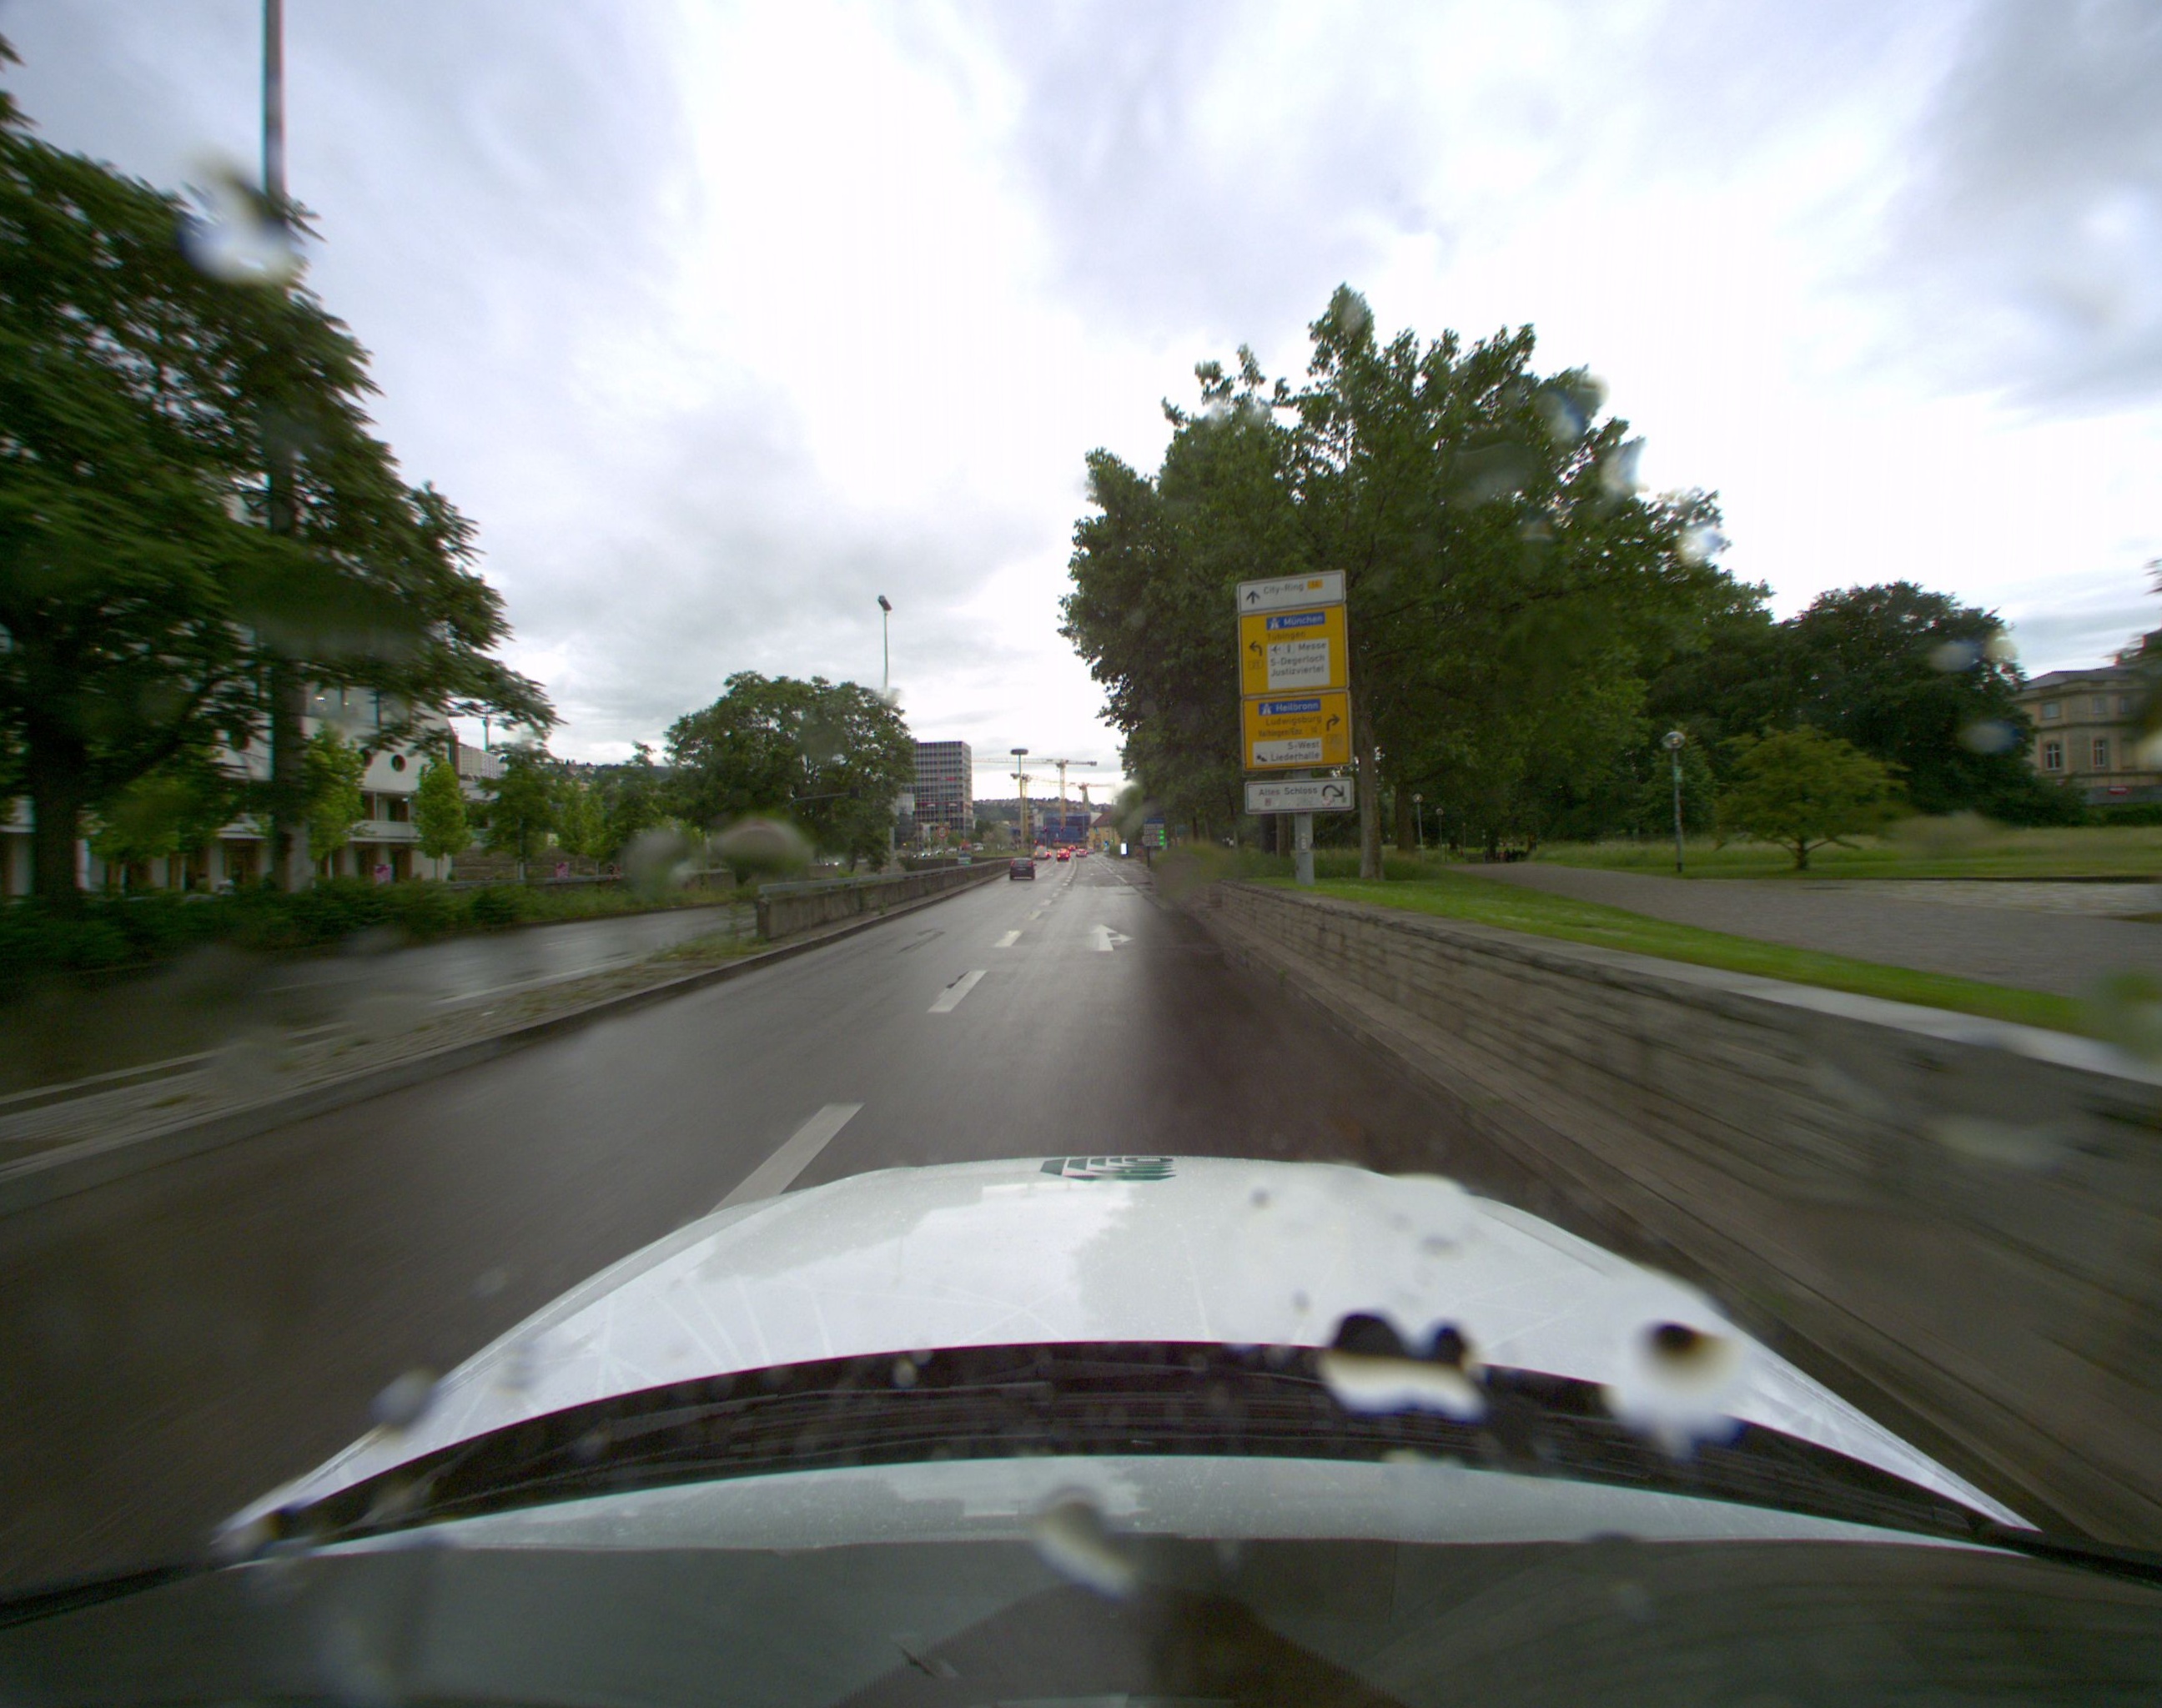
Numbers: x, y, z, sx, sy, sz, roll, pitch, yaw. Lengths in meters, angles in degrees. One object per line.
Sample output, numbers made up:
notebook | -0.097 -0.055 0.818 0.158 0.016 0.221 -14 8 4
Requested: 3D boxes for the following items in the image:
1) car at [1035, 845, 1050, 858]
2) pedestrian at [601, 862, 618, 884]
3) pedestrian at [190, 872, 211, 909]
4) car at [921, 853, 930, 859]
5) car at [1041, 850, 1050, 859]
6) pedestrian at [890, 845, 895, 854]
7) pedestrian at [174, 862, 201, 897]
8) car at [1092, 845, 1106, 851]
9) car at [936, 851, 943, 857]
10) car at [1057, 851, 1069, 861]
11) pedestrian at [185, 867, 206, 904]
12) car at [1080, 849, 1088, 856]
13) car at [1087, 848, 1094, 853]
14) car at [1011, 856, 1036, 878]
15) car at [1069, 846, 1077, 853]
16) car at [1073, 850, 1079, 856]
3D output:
car | -6.640 -0.401 141.296 2.285 2.314 5.004 0 -1 -1
pedestrian | -41.722 1.690 72.116 1.085 1.866 0.827 0 -1 -9
pedestrian | -45.613 1.889 42.171 0.731 1.859 0.706 -1 -1 41
car | -35.743 0.516 187.270 1.340 1.352 2.931 0 -1 1
car | -6.475 0.068 147.829 1.461 1.706 3.137 0 -1 -3
pedestrian | -41.318 -0.975 178.515 0.765 2.090 0.726 0 5 -2
pedestrian | -47.589 1.337 43.394 0.703 1.859 0.734 0 -1 -24
car | 4.798 -1.468 213.553 3.646 1.543 1.529 0 -1 -44
car | -36.397 -0.066 209.429 1.460 1.440 2.961 0 -1 -1
car | -2.901 0.325 130.772 1.749 1.471 4.219 -1 1 -3
pedestrian | -45.092 1.574 41.466 0.731 1.859 0.706 -1 -1 41
car | 0.562 -0.362 159.232 1.439 1.359 2.413 0 -1 2
car | 2.160 -0.830 188.778 1.630 1.174 3.266 0 -1 2
car | -3.844 0.865 55.328 1.538 1.415 3.898 0 0 -2
car | -2.231 -1.274 226.509 2.153 1.879 3.772 0 -1 2
car | -0.982 -0.200 165.416 1.072 0.990 1.972 0 -1 2
